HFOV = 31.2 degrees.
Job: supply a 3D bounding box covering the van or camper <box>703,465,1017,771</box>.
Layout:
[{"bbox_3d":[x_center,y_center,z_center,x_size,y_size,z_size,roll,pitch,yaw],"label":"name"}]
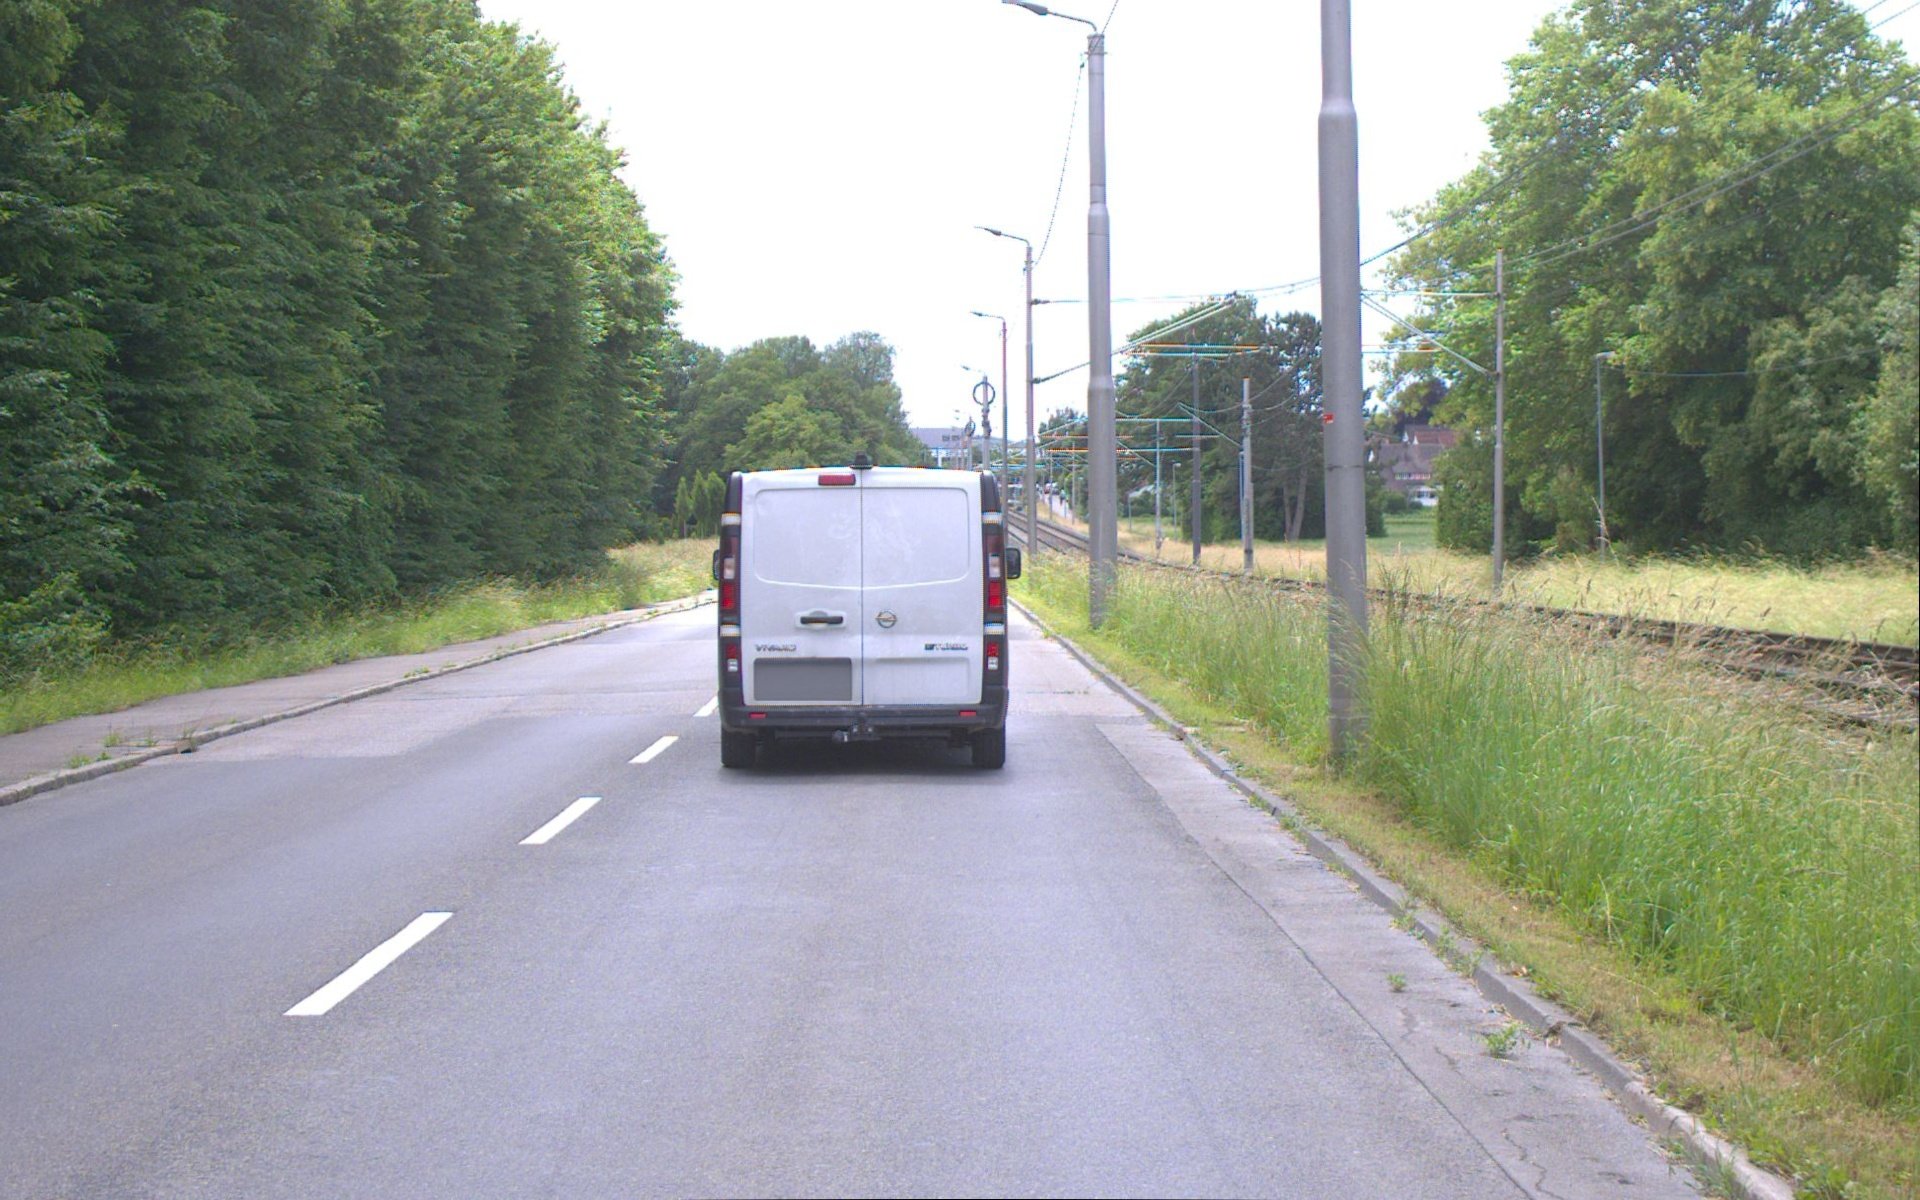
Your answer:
[{"bbox_3d":[-0.619,0.088,23.367,1.942,1.890,4.285,0,1,0],"label":"van or camper"}]
